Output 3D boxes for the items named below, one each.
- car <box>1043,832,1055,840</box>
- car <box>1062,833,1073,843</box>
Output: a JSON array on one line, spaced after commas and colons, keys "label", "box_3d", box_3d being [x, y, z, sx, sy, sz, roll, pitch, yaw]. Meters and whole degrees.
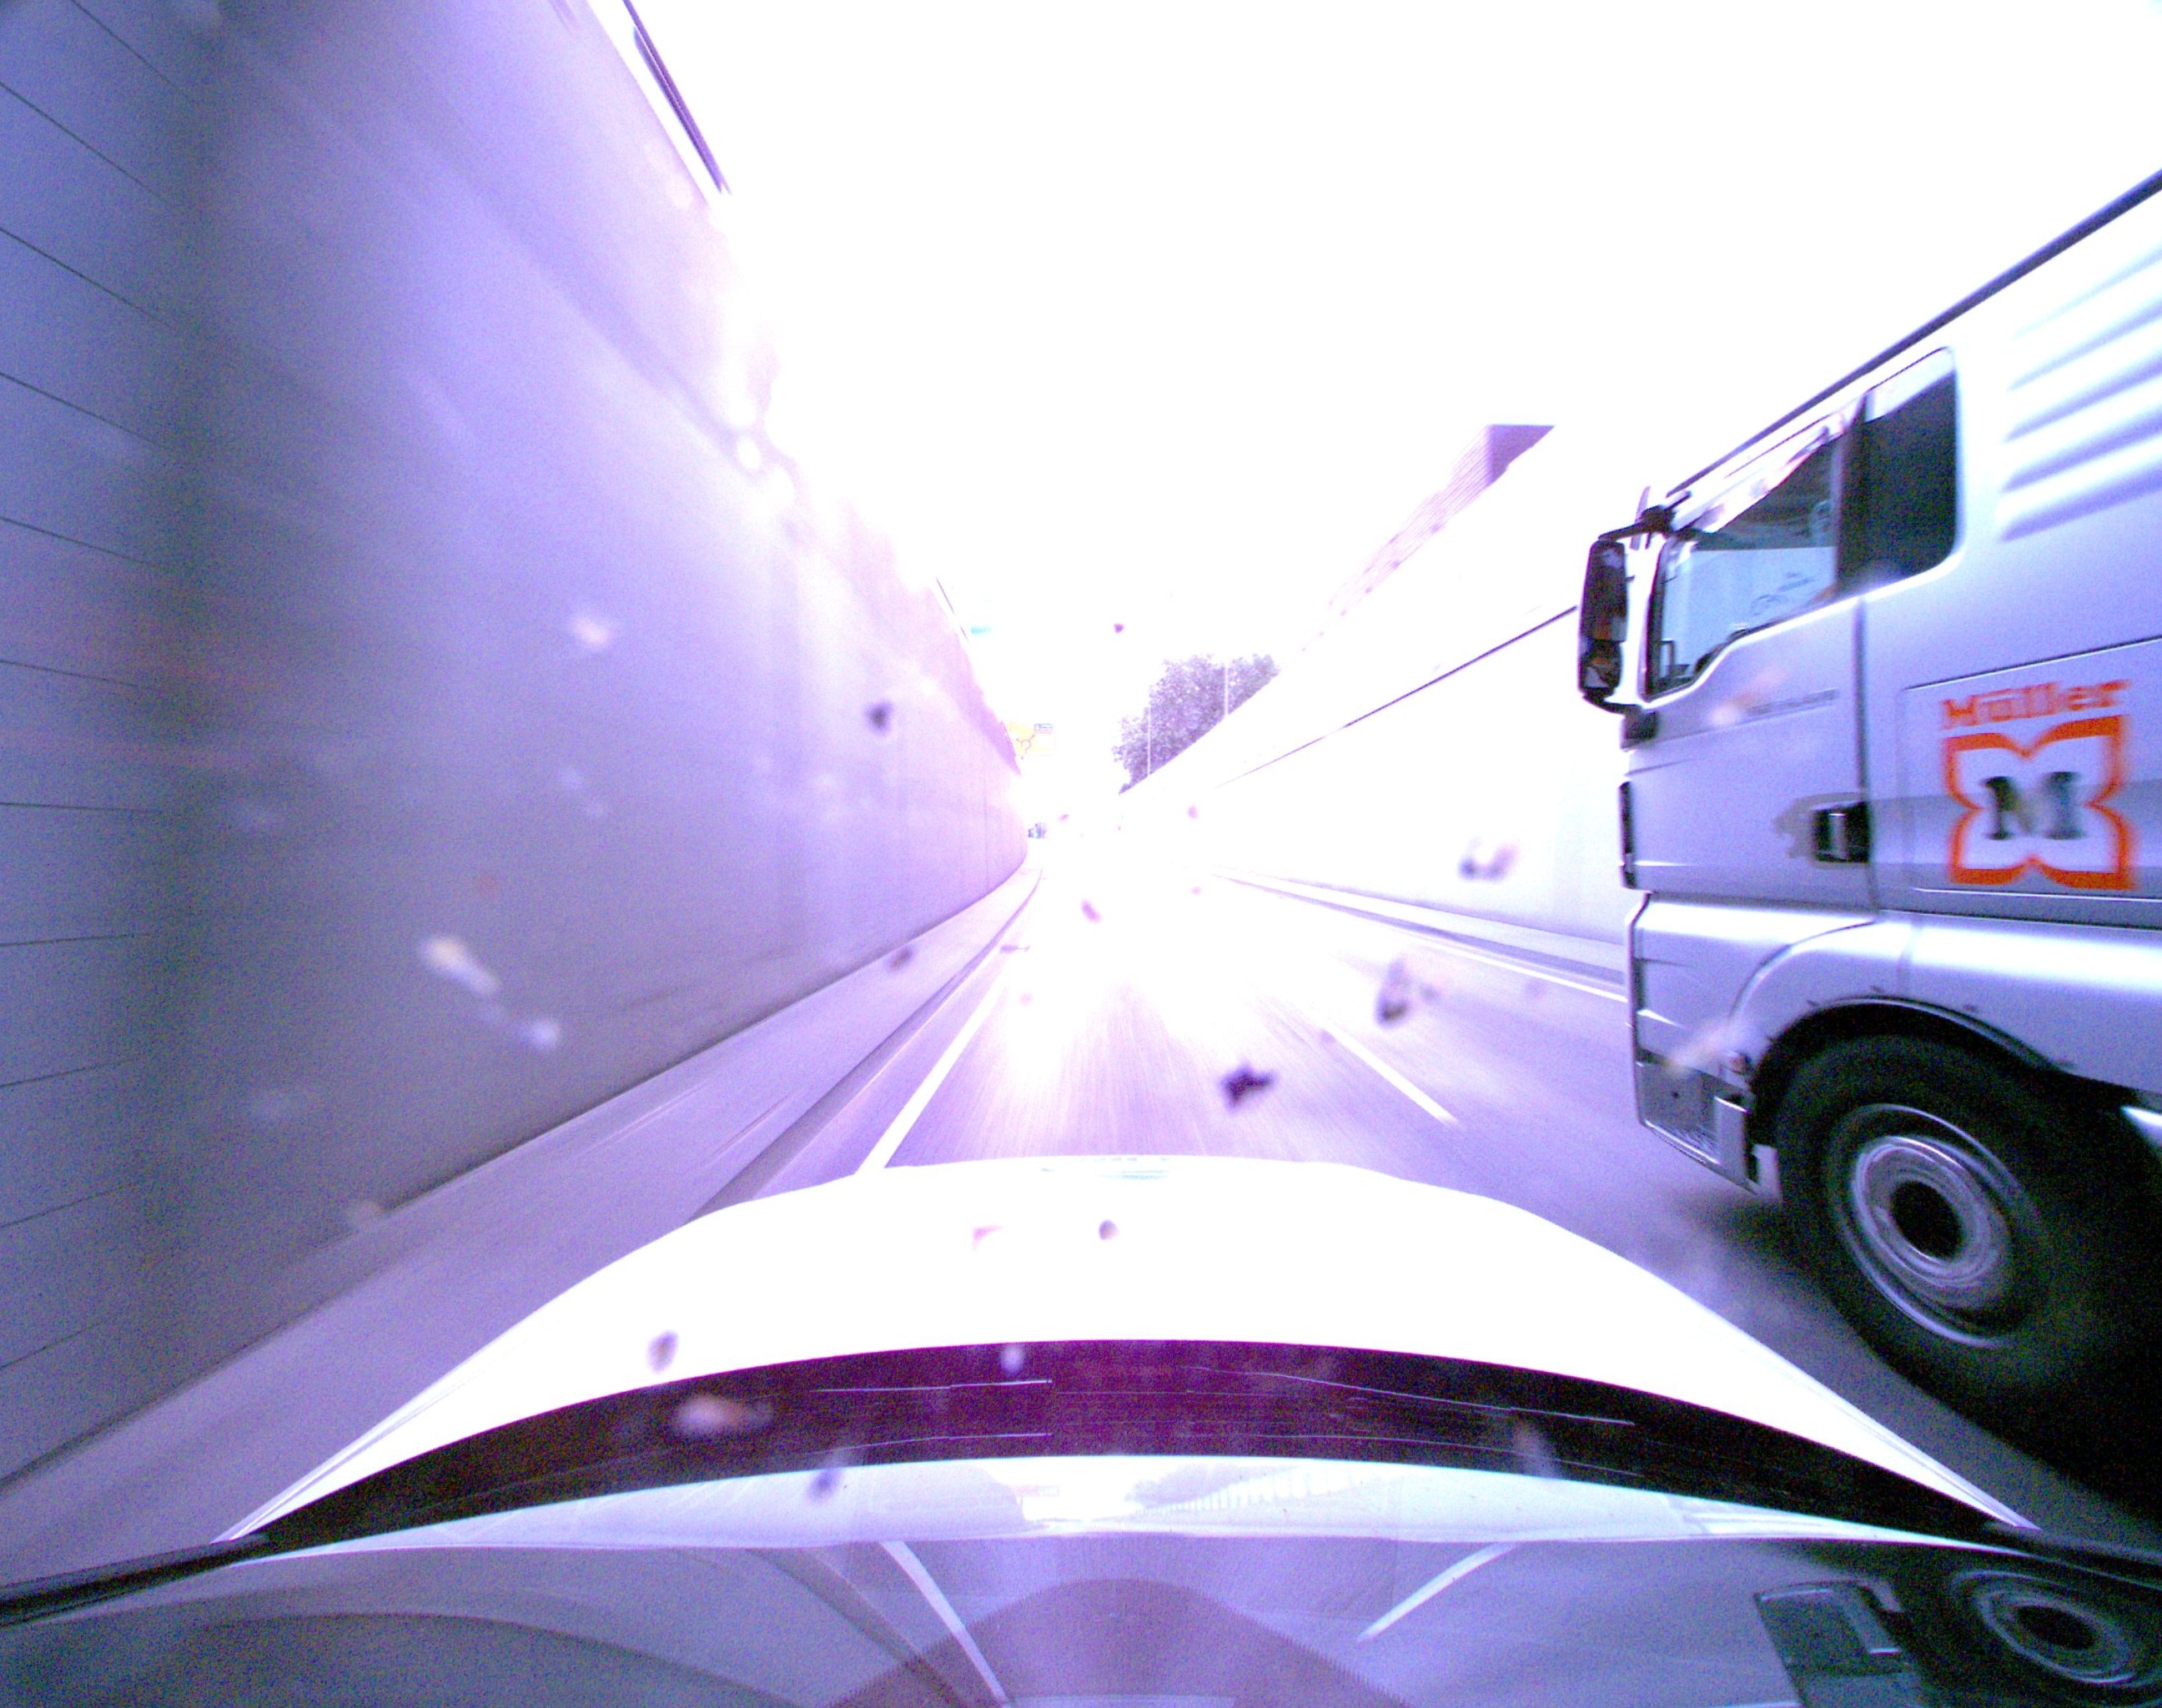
[{"label": "car", "box_3d": [-5.945, -3.372, 150.330, 1.839, 1.388, 3.991, 1, 0, -7]}, {"label": "car", "box_3d": [-2.590, -3.035, 153.484, 1.866, 1.732, 3.993, 1, 0, -5]}]
